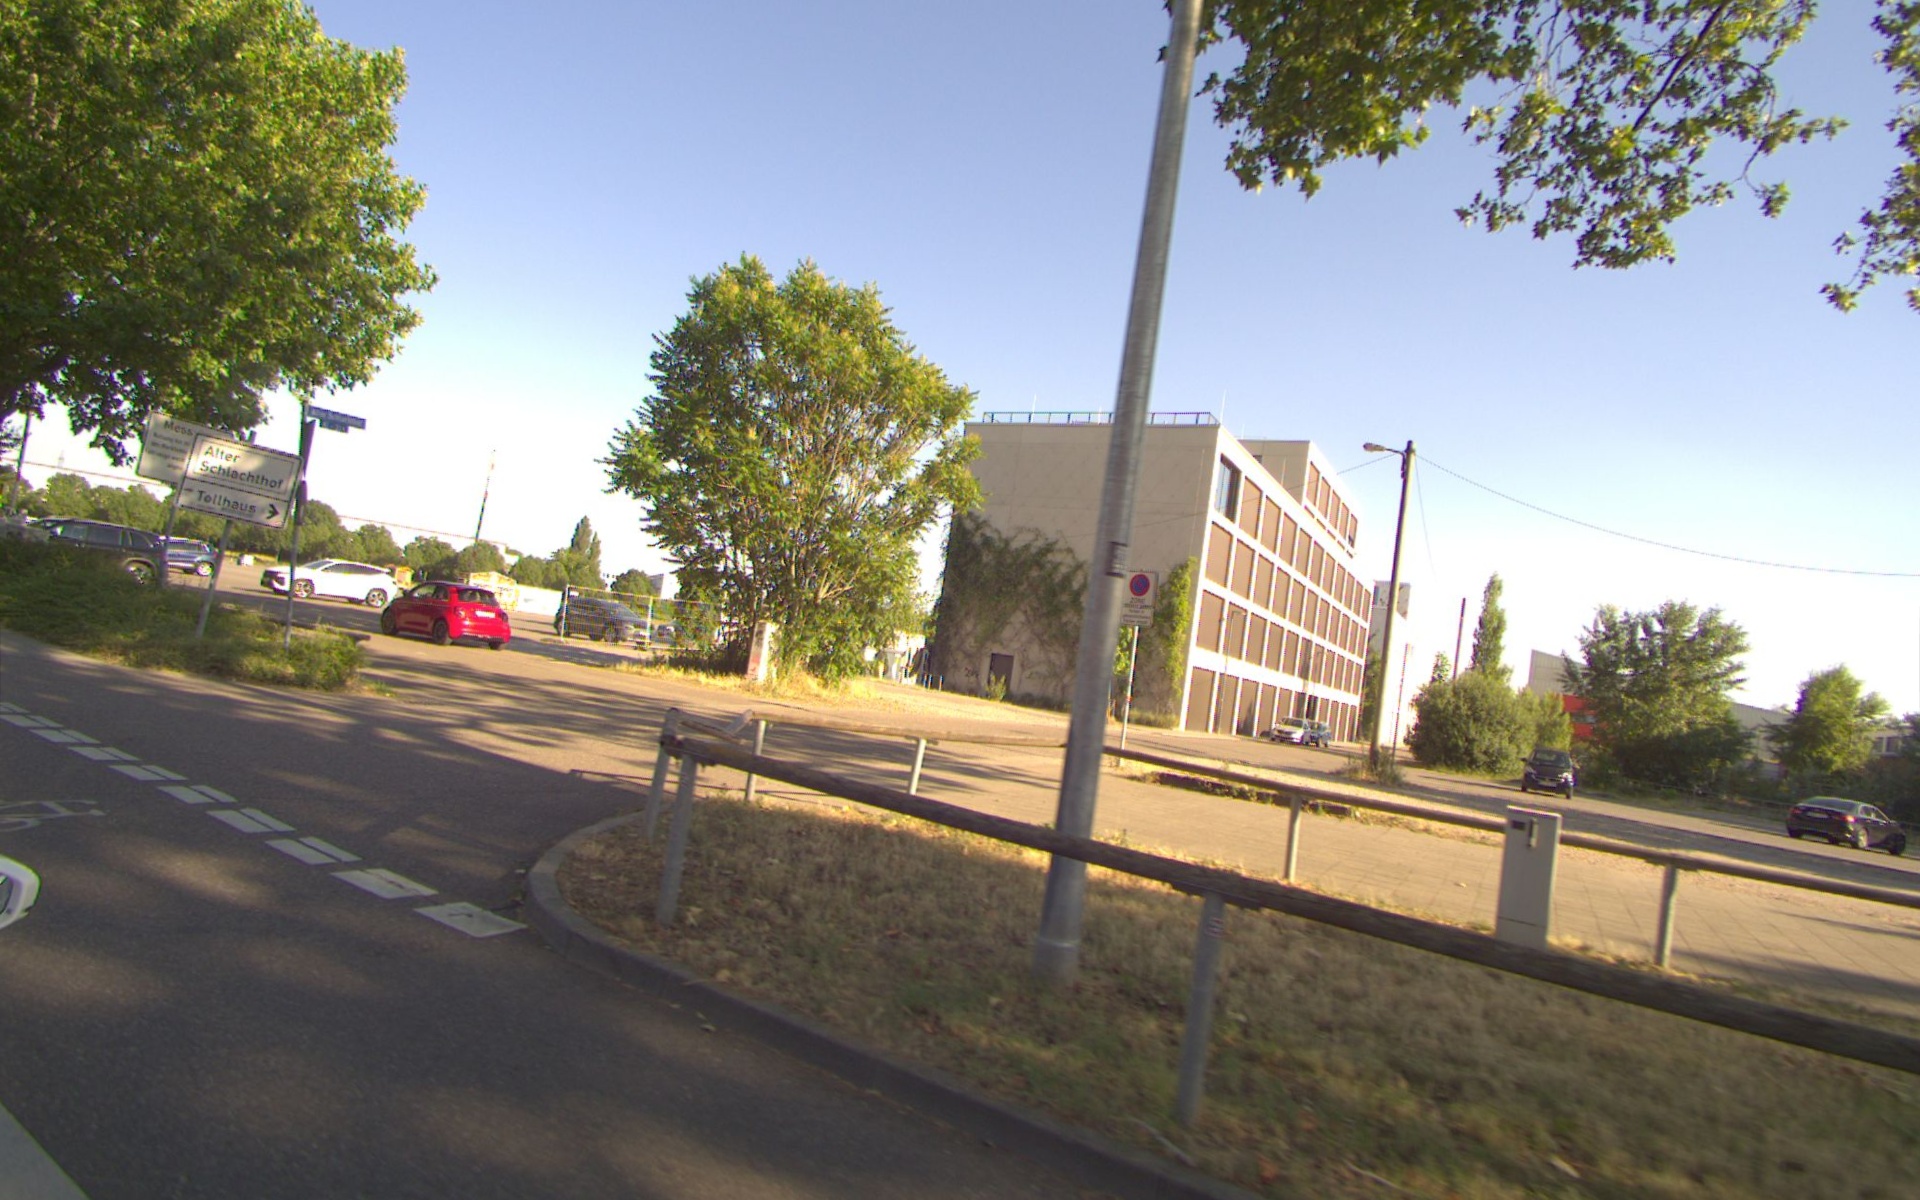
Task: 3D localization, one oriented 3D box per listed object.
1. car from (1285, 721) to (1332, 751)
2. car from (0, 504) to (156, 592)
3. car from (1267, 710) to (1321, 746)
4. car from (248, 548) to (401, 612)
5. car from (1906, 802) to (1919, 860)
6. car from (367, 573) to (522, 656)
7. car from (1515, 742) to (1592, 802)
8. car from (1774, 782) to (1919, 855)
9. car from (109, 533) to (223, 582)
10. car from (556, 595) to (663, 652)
[{"bbox_3d":[21.113,8.223,60.911,1.851,1.472,3.828,6,-4,31],"label":"car"},{"bbox_3d":[-24.546,-1.461,27.091,1.803,1.783,3.998,6,-4,32],"label":"car"},{"bbox_3d":[18.866,7.227,56.711,1.851,1.629,4.365,6,-4,31],"label":"car"},{"bbox_3d":[-24.445,-0.727,38.869,1.888,1.676,4.467,6,-4,35],"label":"car"},{"bbox_3d":[30.033,7.063,29.467,4.318,1.606,1.988,10,-4,-27],"label":"car"},{"bbox_3d":[-12.989,0.352,25.315,3.740,1.531,1.619,6,-4,32],"label":"car"},{"bbox_3d":[20.433,5.870,34.548,1.830,1.629,4.360,6,-4,35],"label":"car"},{"bbox_3d":[27.530,6.781,31.213,4.317,1.629,1.849,10,-4,-26],"label":"car"},{"bbox_3d":[-38.029,-1.999,48.274,1.642,1.626,3.823,6,-4,31],"label":"car"},{"bbox_3d":[-13.540,0.884,38.775,3.933,1.627,1.570,6,-4,31],"label":"car"}]
